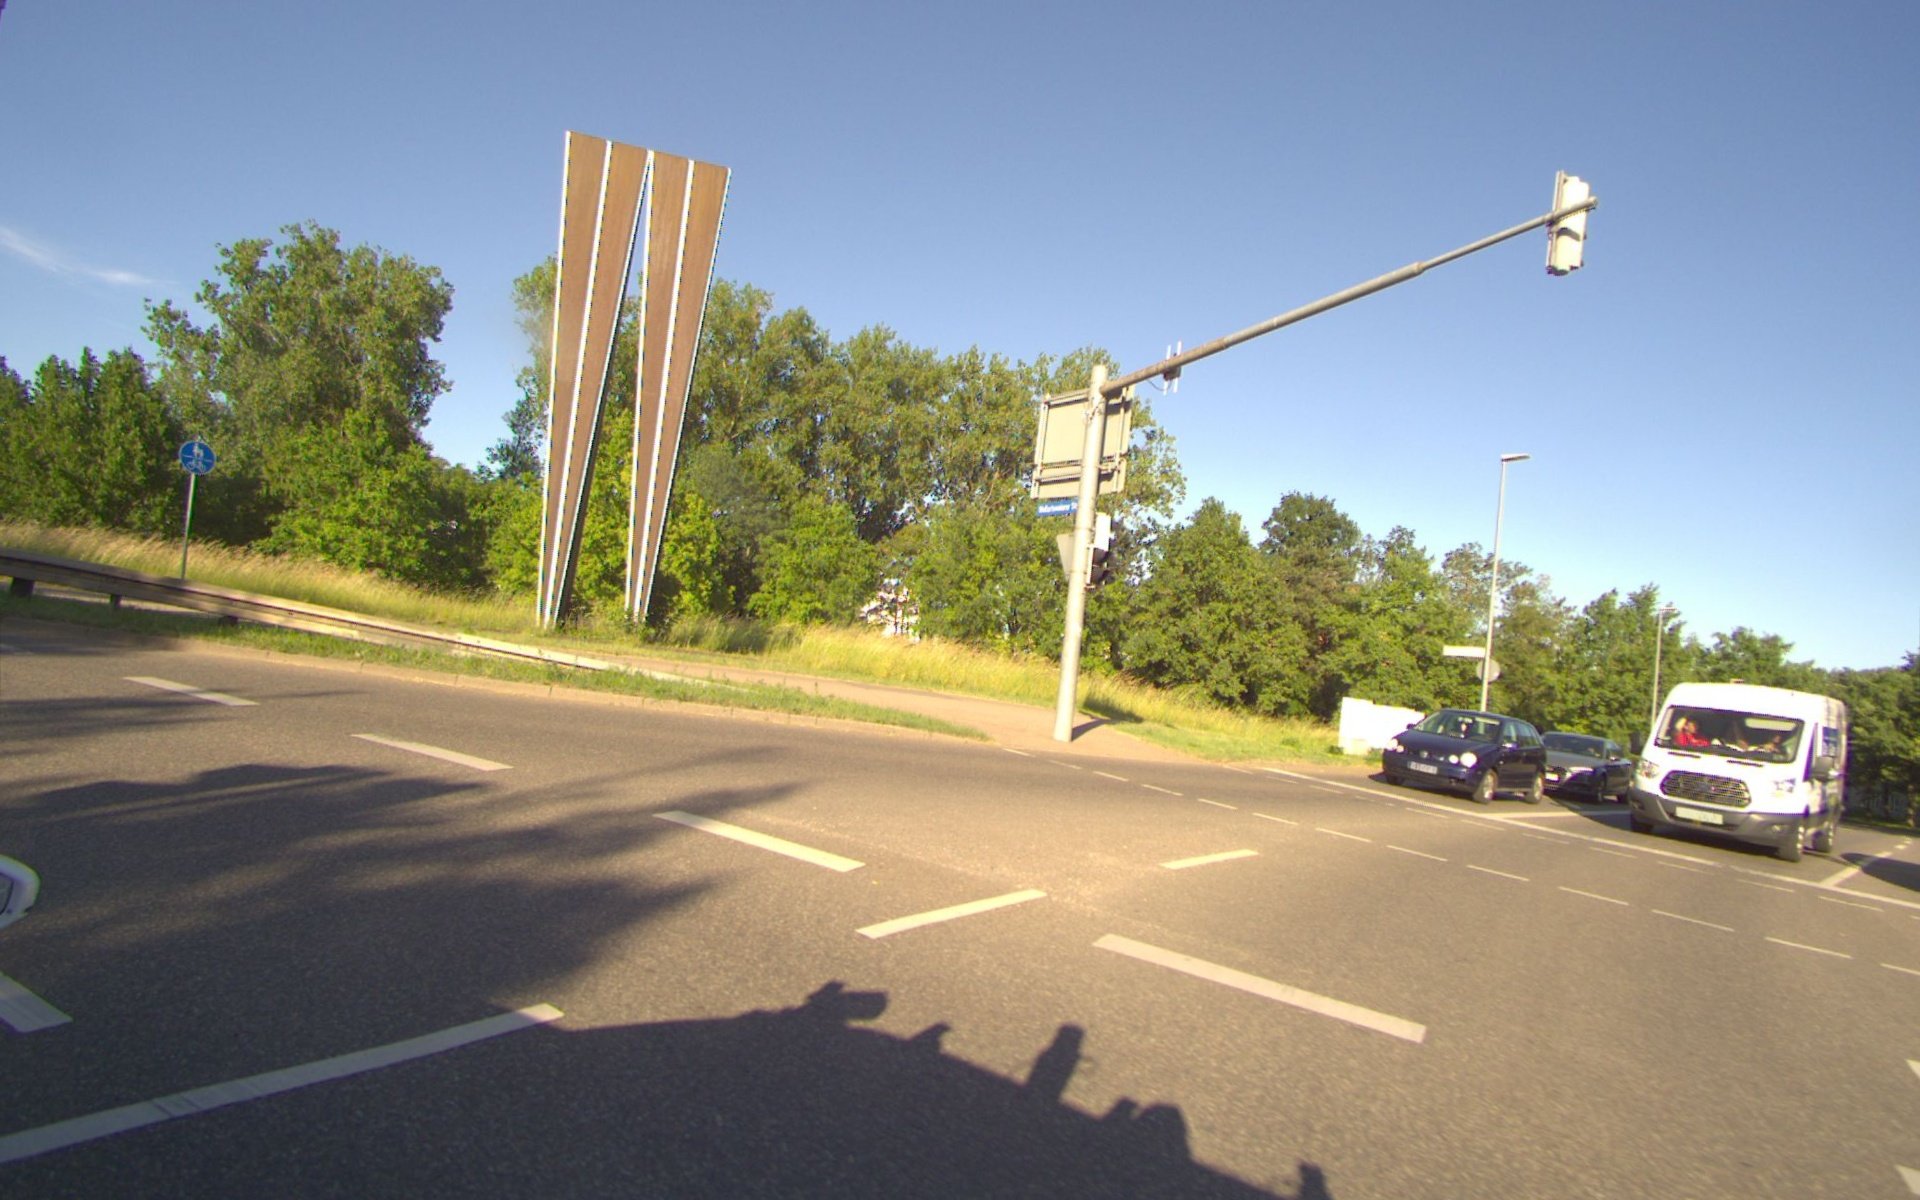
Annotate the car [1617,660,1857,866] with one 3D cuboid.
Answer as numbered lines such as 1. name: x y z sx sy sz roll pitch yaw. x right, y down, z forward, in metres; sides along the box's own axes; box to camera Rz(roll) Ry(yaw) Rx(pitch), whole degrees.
1. car: 12.048 2.512 15.427 5.260 2.435 2.083 12 -5 -44

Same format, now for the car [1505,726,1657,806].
1. car: 13.517 3.610 21.824 3.676 1.402 1.594 9 -3 -39

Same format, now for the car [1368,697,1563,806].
1. car: 8.767 2.642 17.328 3.737 1.419 1.674 11 -3 -42
